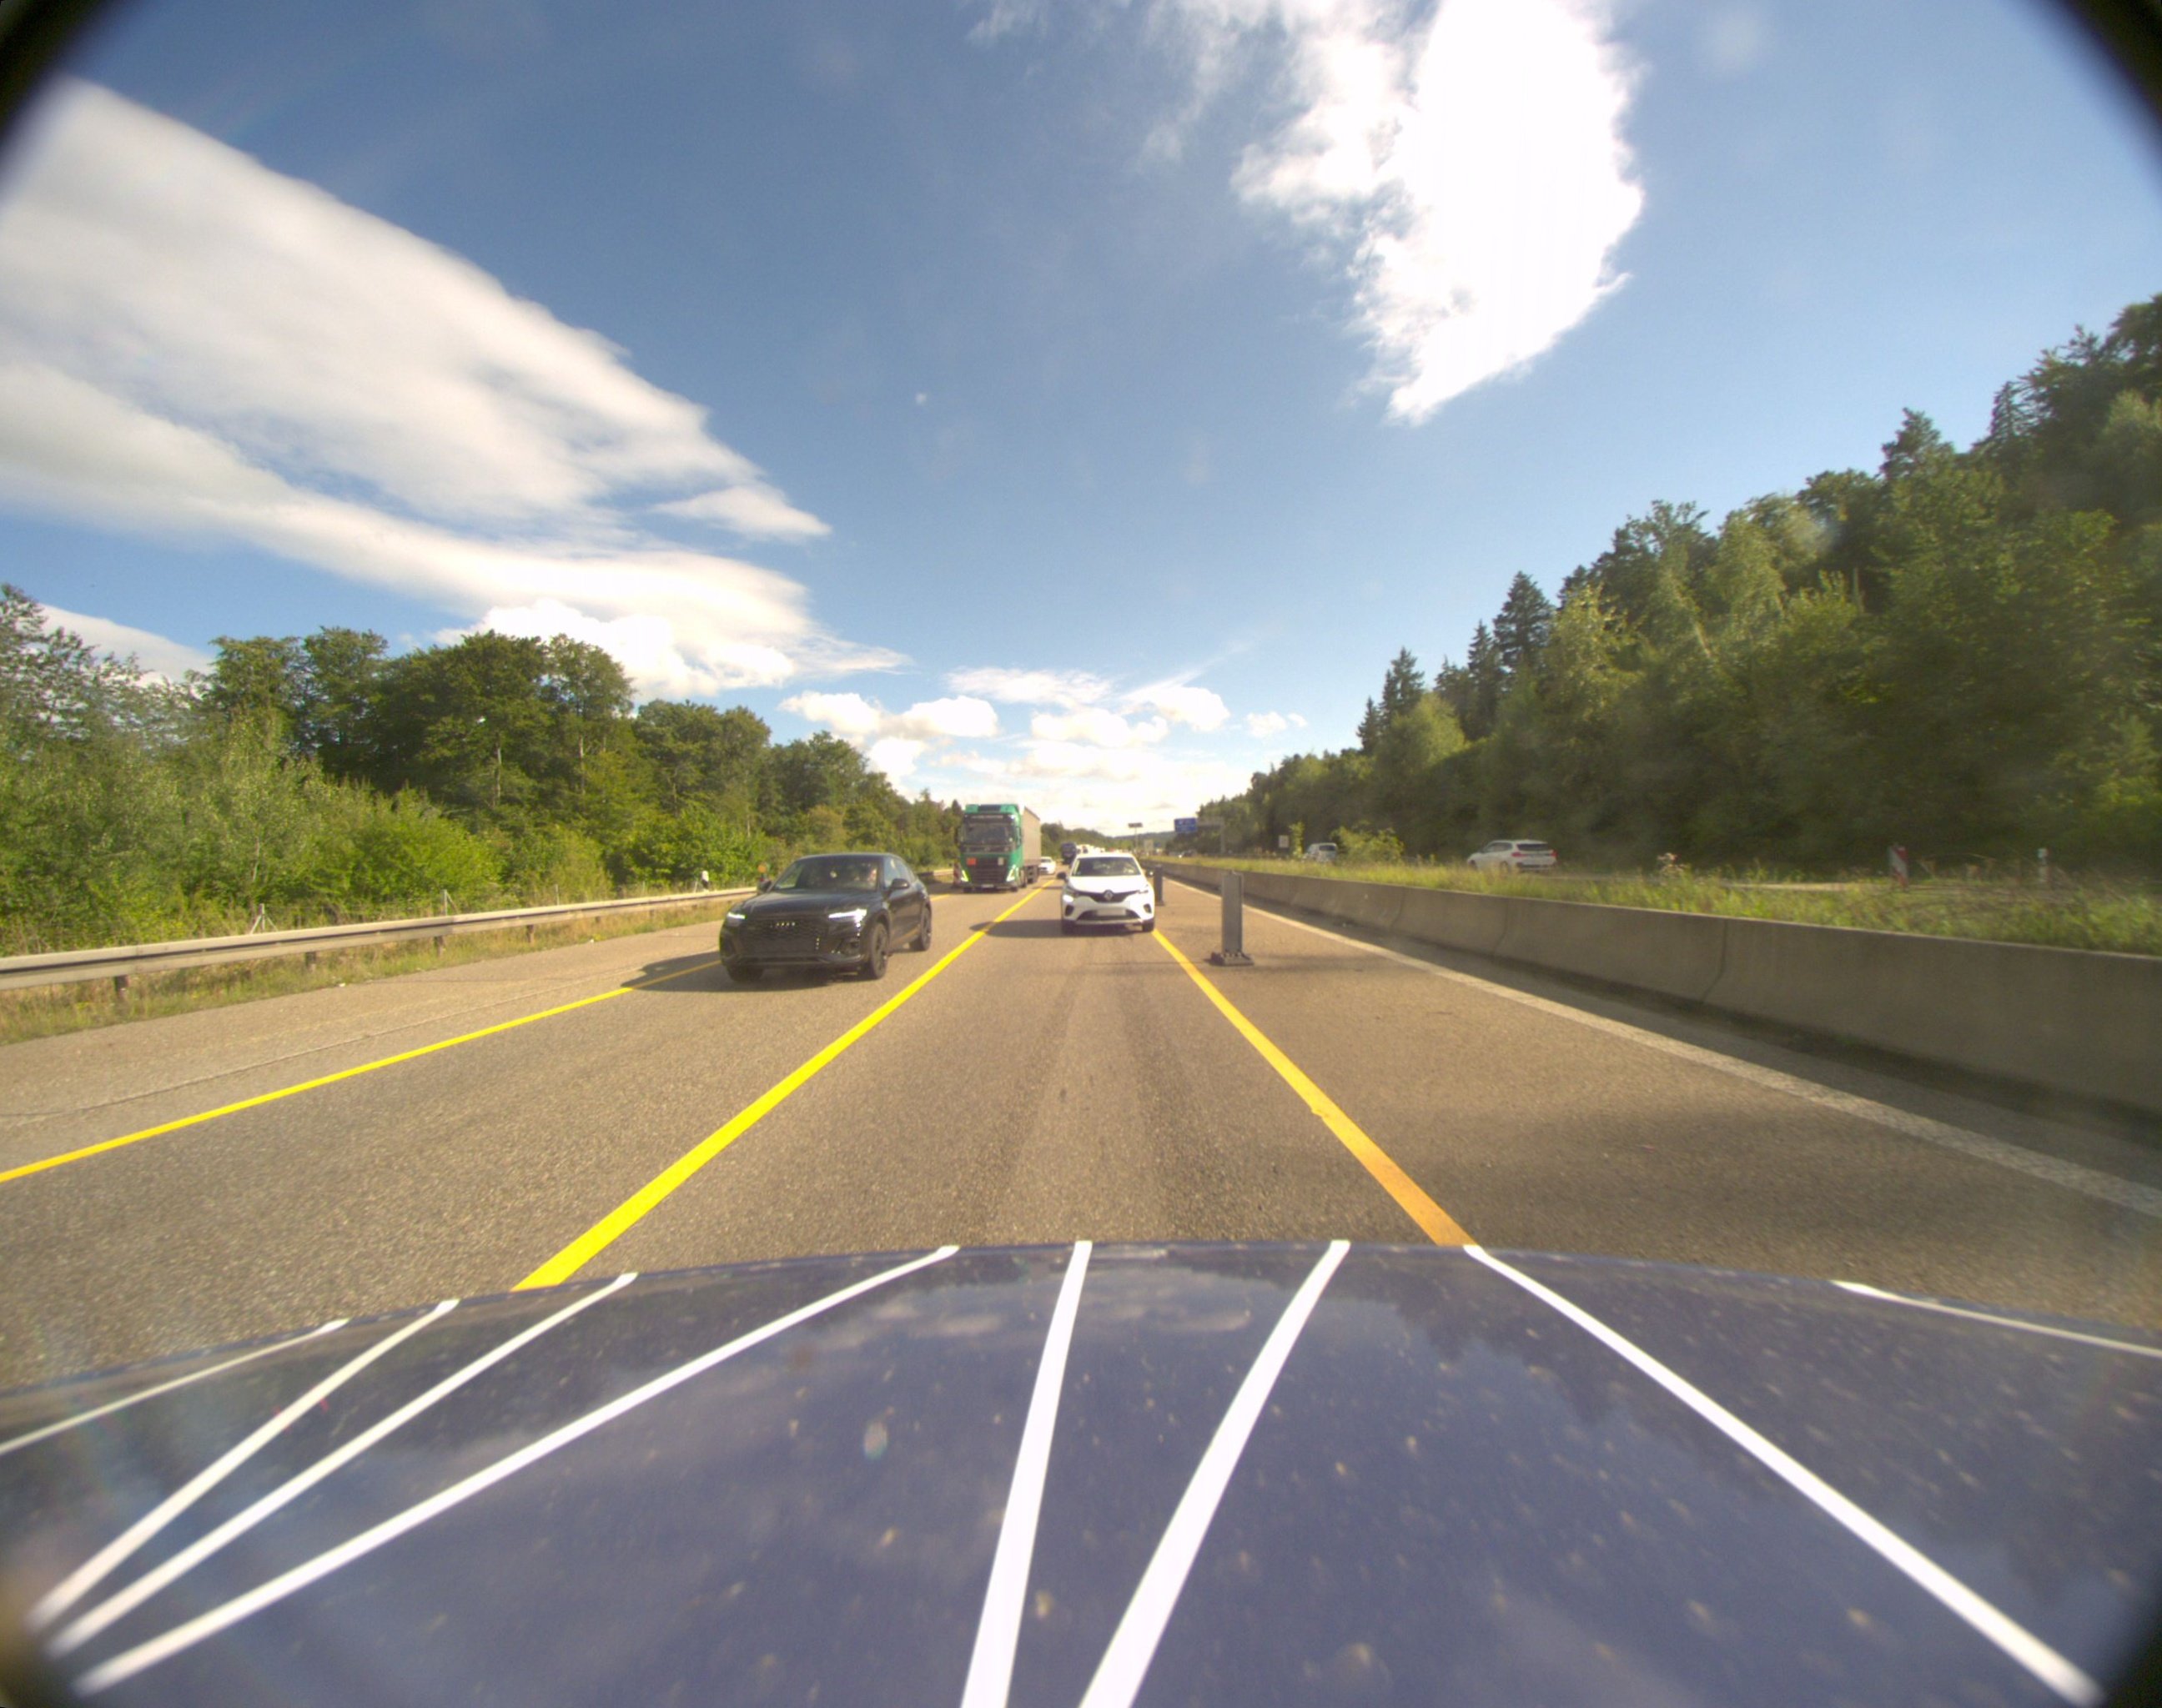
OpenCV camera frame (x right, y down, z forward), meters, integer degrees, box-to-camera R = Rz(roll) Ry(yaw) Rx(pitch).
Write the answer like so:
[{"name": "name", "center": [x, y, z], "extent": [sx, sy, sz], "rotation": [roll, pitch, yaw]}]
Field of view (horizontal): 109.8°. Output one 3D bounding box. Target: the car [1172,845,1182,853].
[{"name": "car", "center": [24.726, -1.233, 195.550], "extent": [1.782, 1.891, 4.616], "rotation": [-2, 1, 0]}]

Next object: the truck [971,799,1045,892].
[{"name": "truck", "center": [-3.632, -0.391, 41.471], "extent": [2.470, 4.119, 14.210], "rotation": [-2, 0, 0]}]

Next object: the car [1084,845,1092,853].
[{"name": "car", "center": [1.602, -1.138, 182.006], "extent": [1.750, 1.787, 3.999], "rotation": [-2, 1, 0]}]

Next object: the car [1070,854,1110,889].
[{"name": "car", "center": [0.421, 0.776, 35.985], "extent": [1.782, 1.468, 4.017], "rotation": [-2, 1, 0]}]

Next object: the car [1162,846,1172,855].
[{"name": "car", "center": [20.003, -0.866, 177.451], "extent": [1.782, 1.891, 4.616], "rotation": [-2, 1, 0]}]

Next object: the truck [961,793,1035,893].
[{"name": "truck", "center": [-3.656, -0.514, 35.019], "extent": [2.528, 4.076, 6.855], "rotation": [-2, 1, 0]}]

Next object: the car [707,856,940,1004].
[{"name": "car", "center": [-3.359, 0.878, 10.891], "extent": [1.782, 1.593, 4.293], "rotation": [-2, 1, 0]}]

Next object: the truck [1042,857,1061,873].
[{"name": "truck", "center": [-2.418, 0.871, 63.045], "extent": [1.468, 1.215, 3.087], "rotation": [-2, 1, -2]}]

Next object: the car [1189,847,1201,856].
[{"name": "car", "center": [23.378, -0.468, 155.464], "extent": [1.782, 1.679, 4.616], "rotation": [-2, 1, 0]}]

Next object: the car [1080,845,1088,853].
[{"name": "car", "center": [0.623, -1.049, 159.326], "extent": [1.750, 1.787, 3.999], "rotation": [-2, 1, 0]}]

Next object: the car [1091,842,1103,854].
[{"name": "car", "center": [2.905, -1.055, 137.150], "extent": [1.998, 2.002, 3.999], "rotation": [-2, 1, 0]}]

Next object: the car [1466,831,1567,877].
[{"name": "car", "center": [18.353, -0.026, 32.269], "extent": [1.782, 1.775, 4.364], "rotation": [-2, 1, 0]}]

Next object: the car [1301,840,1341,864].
[{"name": "car", "center": [19.046, -0.196, 60.437], "extent": [1.782, 1.775, 4.364], "rotation": [-2, 1, 0]}]

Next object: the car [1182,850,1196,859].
[{"name": "car", "center": [17.837, 0.050, 125.815], "extent": [1.782, 1.448, 4.104], "rotation": [-2, 1, 0]}]

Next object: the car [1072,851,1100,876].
[{"name": "car", "center": [0.315, 0.613, 51.608], "extent": [1.782, 1.593, 4.017], "rotation": [-2, 1, 0]}]

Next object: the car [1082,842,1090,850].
[{"name": "car", "center": [1.037, -1.757, 170.695], "extent": [1.750, 1.787, 3.999], "rotation": [-2, 1, 0]}]

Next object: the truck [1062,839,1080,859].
[{"name": "truck", "center": [-1.669, -0.907, 127.634], "extent": [2.576, 3.168, 6.802], "rotation": [-2, 1, 3]}]

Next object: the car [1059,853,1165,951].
[{"name": "car", "center": [0.553, 0.823, 15.113], "extent": [1.782, 1.593, 4.017], "rotation": [-2, 1, 0]}]
